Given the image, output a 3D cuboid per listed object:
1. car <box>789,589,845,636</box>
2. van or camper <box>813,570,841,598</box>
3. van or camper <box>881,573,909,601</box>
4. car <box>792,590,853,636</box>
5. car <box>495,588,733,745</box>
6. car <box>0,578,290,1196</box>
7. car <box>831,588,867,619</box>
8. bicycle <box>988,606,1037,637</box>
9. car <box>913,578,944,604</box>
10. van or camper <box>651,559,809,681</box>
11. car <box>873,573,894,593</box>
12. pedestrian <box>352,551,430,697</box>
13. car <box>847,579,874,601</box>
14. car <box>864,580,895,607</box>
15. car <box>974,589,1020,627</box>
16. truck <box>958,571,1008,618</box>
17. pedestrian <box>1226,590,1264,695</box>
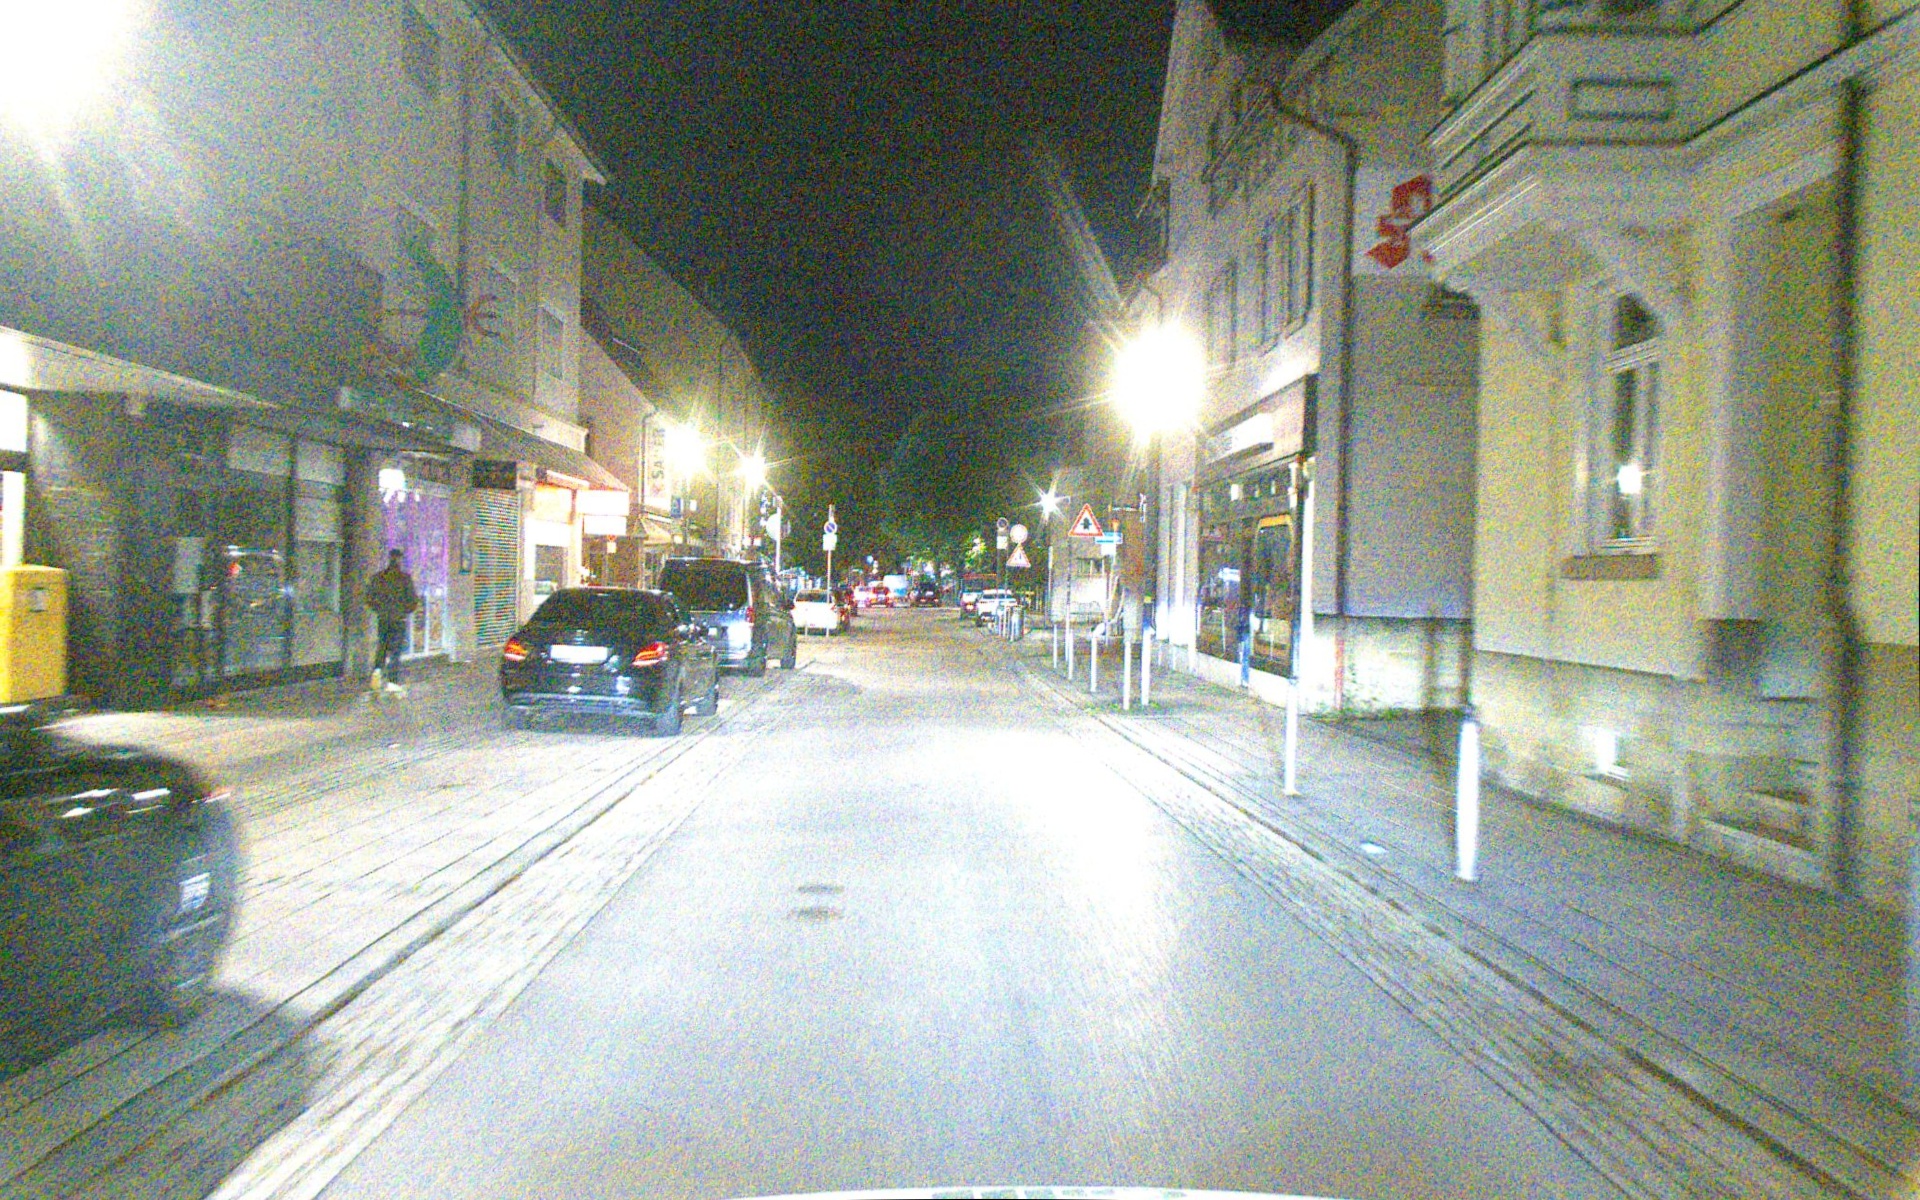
[{"bbox_3d":[-4.813,0.393,56.185,1.694,1.502,3.845,1,1,-3],"label":"car"},{"bbox_3d":[-10.270,-1.271,127.270,1.832,2.046,4.254,2,0,-8],"label":"van or camper"},{"bbox_3d":[-5.785,-1.171,146.790,2.069,2.357,4.254,-1,1,-8],"label":"van or camper"},{"bbox_3d":[-5.077,0.458,61.624,1.979,1.513,5.005,3,0,-2],"label":"car"},{"bbox_3d":[-3.589,0.616,17.902,1.682,1.437,4.384,2,0,-1],"label":"car"},{"bbox_3d":[-3.199,0.684,3.686,1.761,1.504,4.319,2,0,-2],"label":"car"},{"bbox_3d":[-6.029,0.165,89.728,1.642,1.570,4.223,1,0,-8],"label":"car"},{"bbox_3d":[1.858,0.747,58.582,1.720,1.080,0.346,0,0,-5],"label":"bicycle"},{"bbox_3d":[-2.309,-0.641,120.573,1.781,1.860,4.340,0,1,-8],"label":"car"},{"bbox_3d":[-4.054,0.306,30.023,1.807,1.976,5.156,1,0,4],"label":"van or camper"},{"bbox_3d":[-7.647,-1.712,165.856,1.804,1.934,3.840,0,1,-7],"label":"car"},{"bbox_3d":[-7.145,0.292,20.807,0.608,1.776,1.022,1,0,-2],"label":"pedestrian"},{"bbox_3d":[-8.105,-0.818,133.903,1.955,1.732,3.994,1,0,-7],"label":"car"},{"bbox_3d":[-5.830,-0.492,119.520,1.955,1.855,3.994,1,0,-7],"label":"car"},{"bbox_3d":[1.543,0.316,70.007,1.753,1.517,4.058,-1,1,-1],"label":"car"},{"bbox_3d":[1.163,-0.328,85.577,2.289,2.352,5.778,0,1,-2],"label":"truck"},{"bbox_3d":[4.340,0.636,25.211,0.490,1.574,0.480,1,0,4],"label":"pedestrian"}]
